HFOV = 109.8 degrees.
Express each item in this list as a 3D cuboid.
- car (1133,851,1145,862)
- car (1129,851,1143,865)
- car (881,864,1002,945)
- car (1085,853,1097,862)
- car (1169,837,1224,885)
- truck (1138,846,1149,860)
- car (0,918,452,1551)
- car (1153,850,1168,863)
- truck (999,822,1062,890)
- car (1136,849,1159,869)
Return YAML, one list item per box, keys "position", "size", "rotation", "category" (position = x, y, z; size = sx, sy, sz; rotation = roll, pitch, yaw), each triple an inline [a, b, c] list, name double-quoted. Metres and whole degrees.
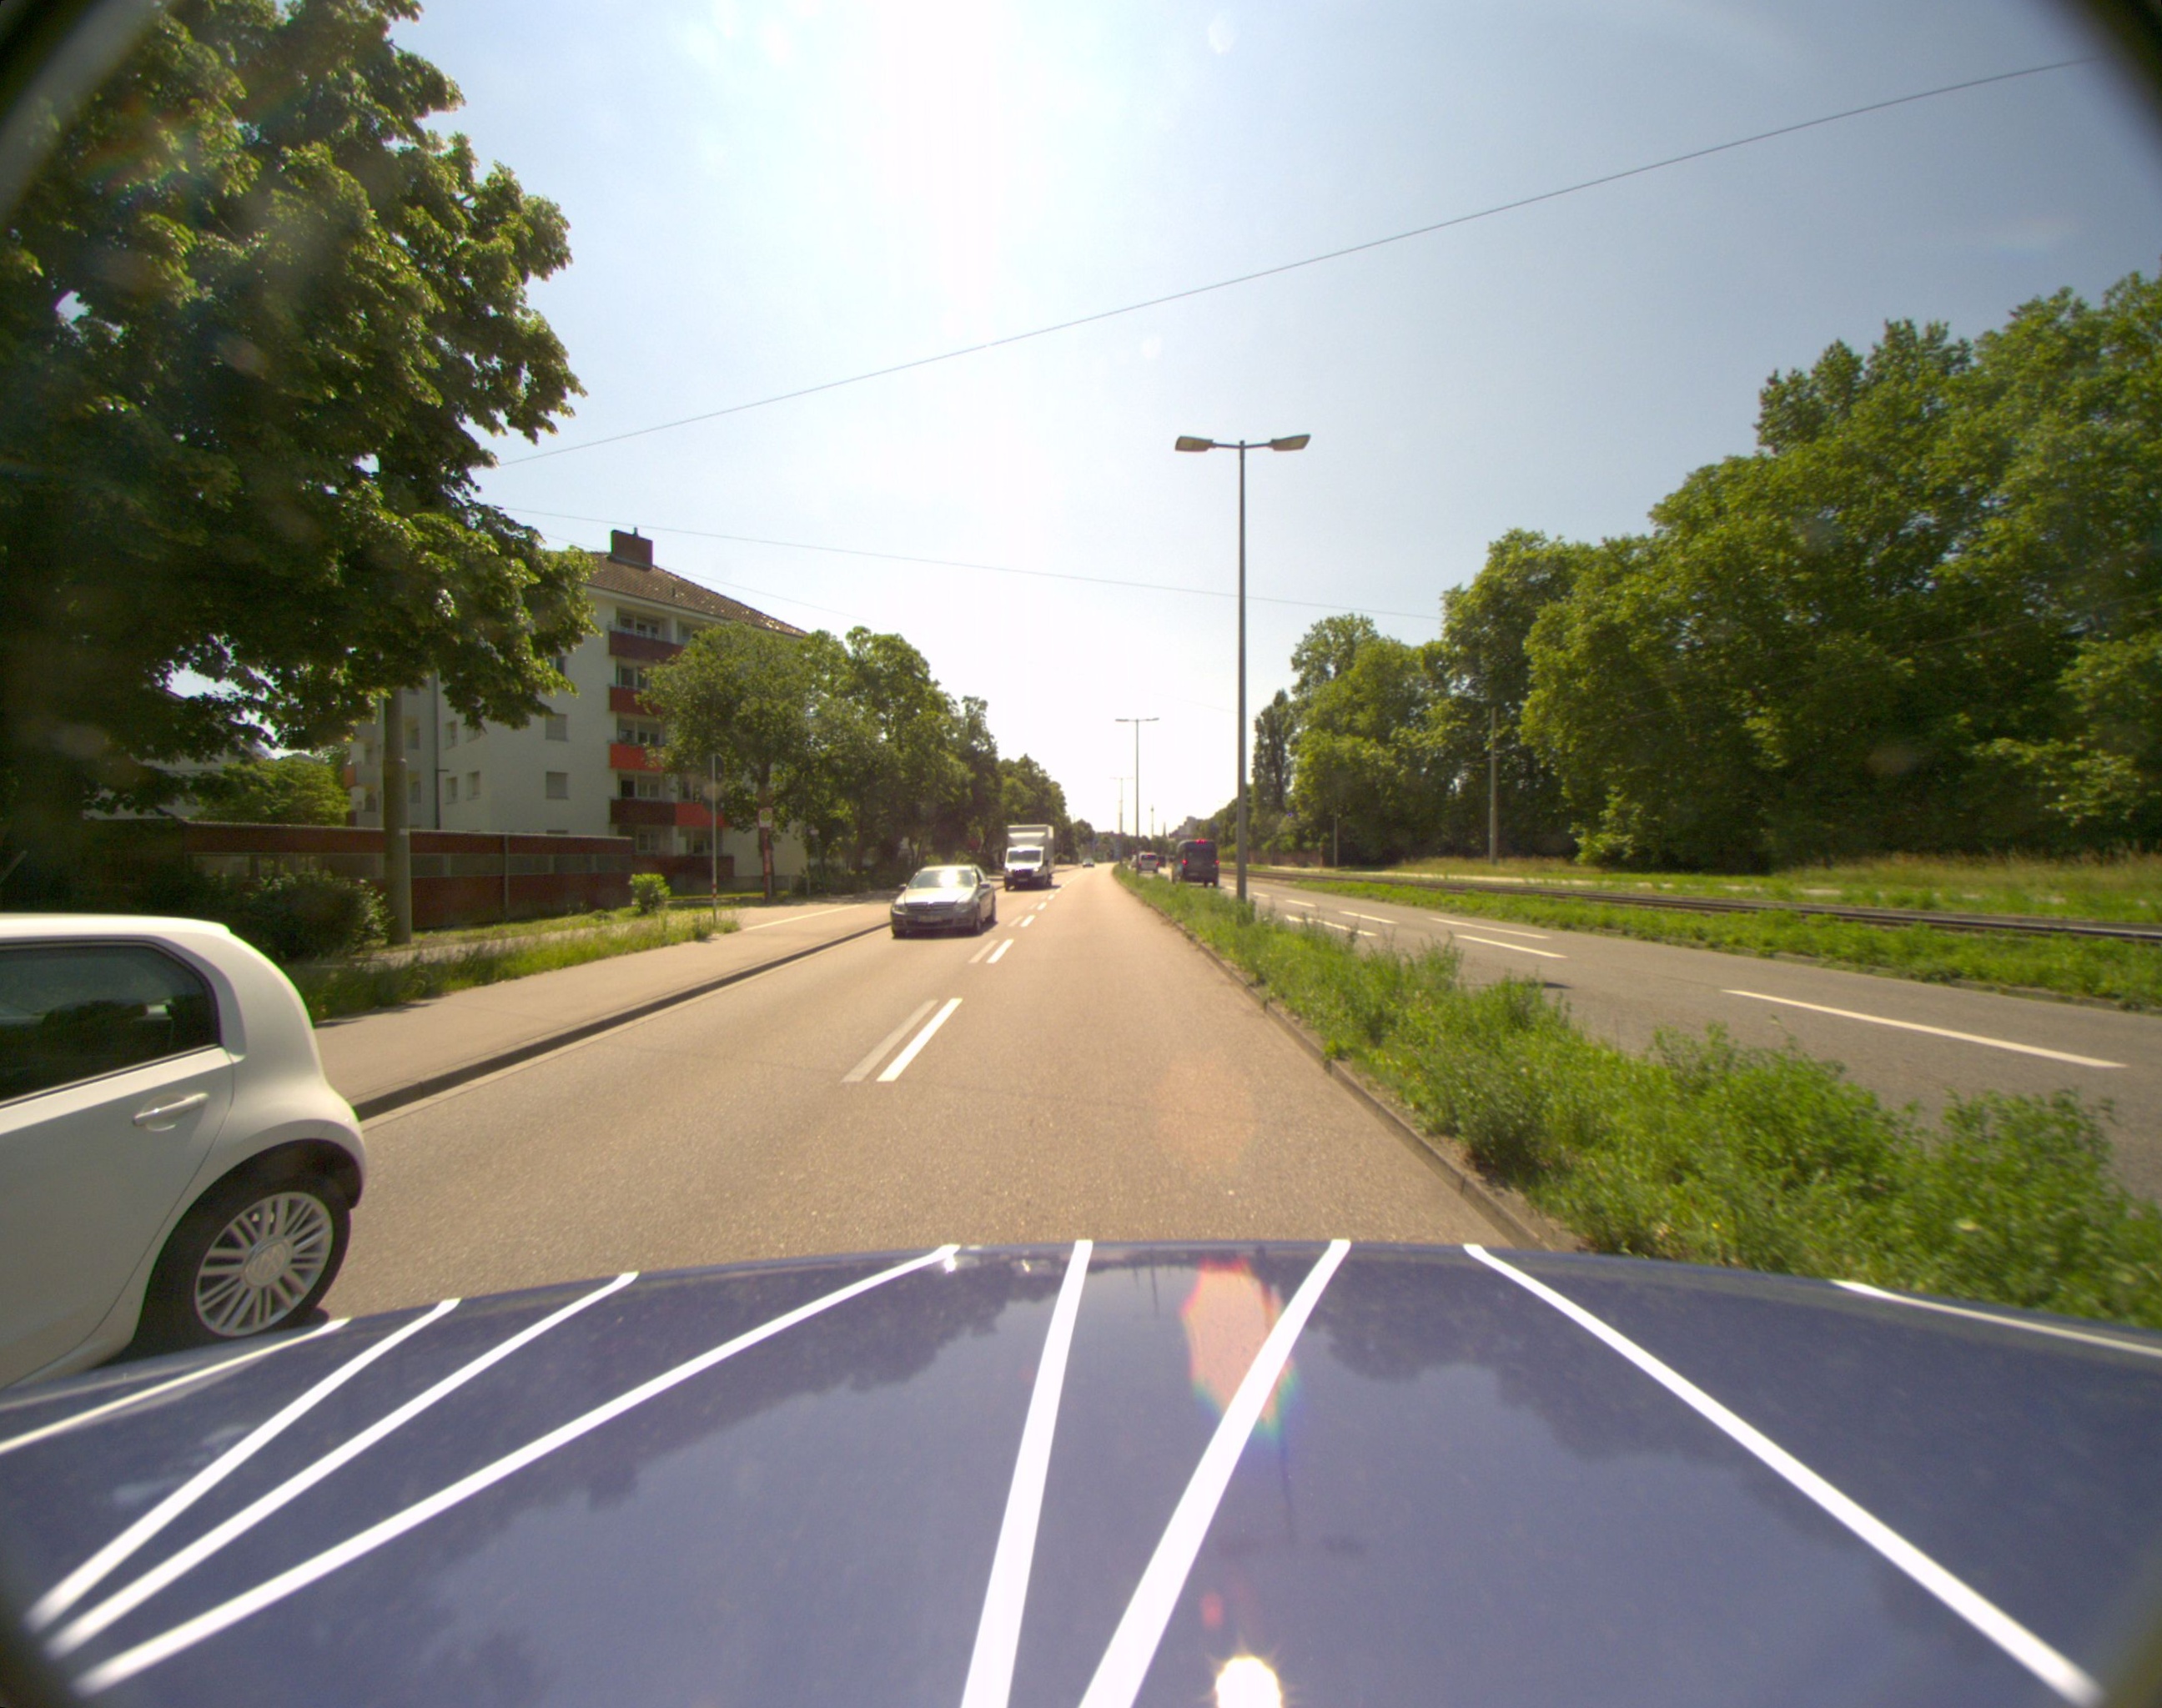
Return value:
- position: [9.774, 0.425, 129.035]
  size: [1.833, 1.703, 4.794]
  rotation: [1, 0, 2]
  category: "car"
- position: [7.496, 0.520, 102.935]
  size: [1.833, 1.728, 4.039]
  rotation: [1, 0, 5]
  category: "car"
- position: [-2.947, 1.021, 16.896]
  size: [1.903, 1.451, 3.971]
  rotation: [-2, 0, 0]
  category: "car"
- position: [1.582, 0.566, 124.182]
  size: [1.829, 1.556, 4.000]
  rotation: [-1, 0, 0]
  category: "car"
- position: [5.949, 0.336, 39.889]
  size: [1.999, 2.352, 5.372]
  rotation: [0, 0, -1]
  category: "car"
- position: [12.817, -0.223, 157.273]
  size: [2.086, 2.732, 5.548]
  rotation: [1, 0, 3]
  category: "truck"
- position: [-3.506, 1.020, 1.272]
  size: [1.663, 1.441, 3.854]
  rotation: [-2, 0, 0]
  category: "car"
- position: [11.676, 0.312, 111.579]
  size: [1.834, 1.791, 4.615]
  rotation: [1, 0, 2]
  category: "car"
- position: [-2.542, 0.056, 40.861]
  size: [2.294, 3.259, 8.313]
  rotation: [-1, 0, 3]
  category: "truck"
- position: [6.475, 0.442, 74.427]
  size: [1.834, 1.895, 5.566]
  rotation: [1, 0, 0]
  category: "car"
